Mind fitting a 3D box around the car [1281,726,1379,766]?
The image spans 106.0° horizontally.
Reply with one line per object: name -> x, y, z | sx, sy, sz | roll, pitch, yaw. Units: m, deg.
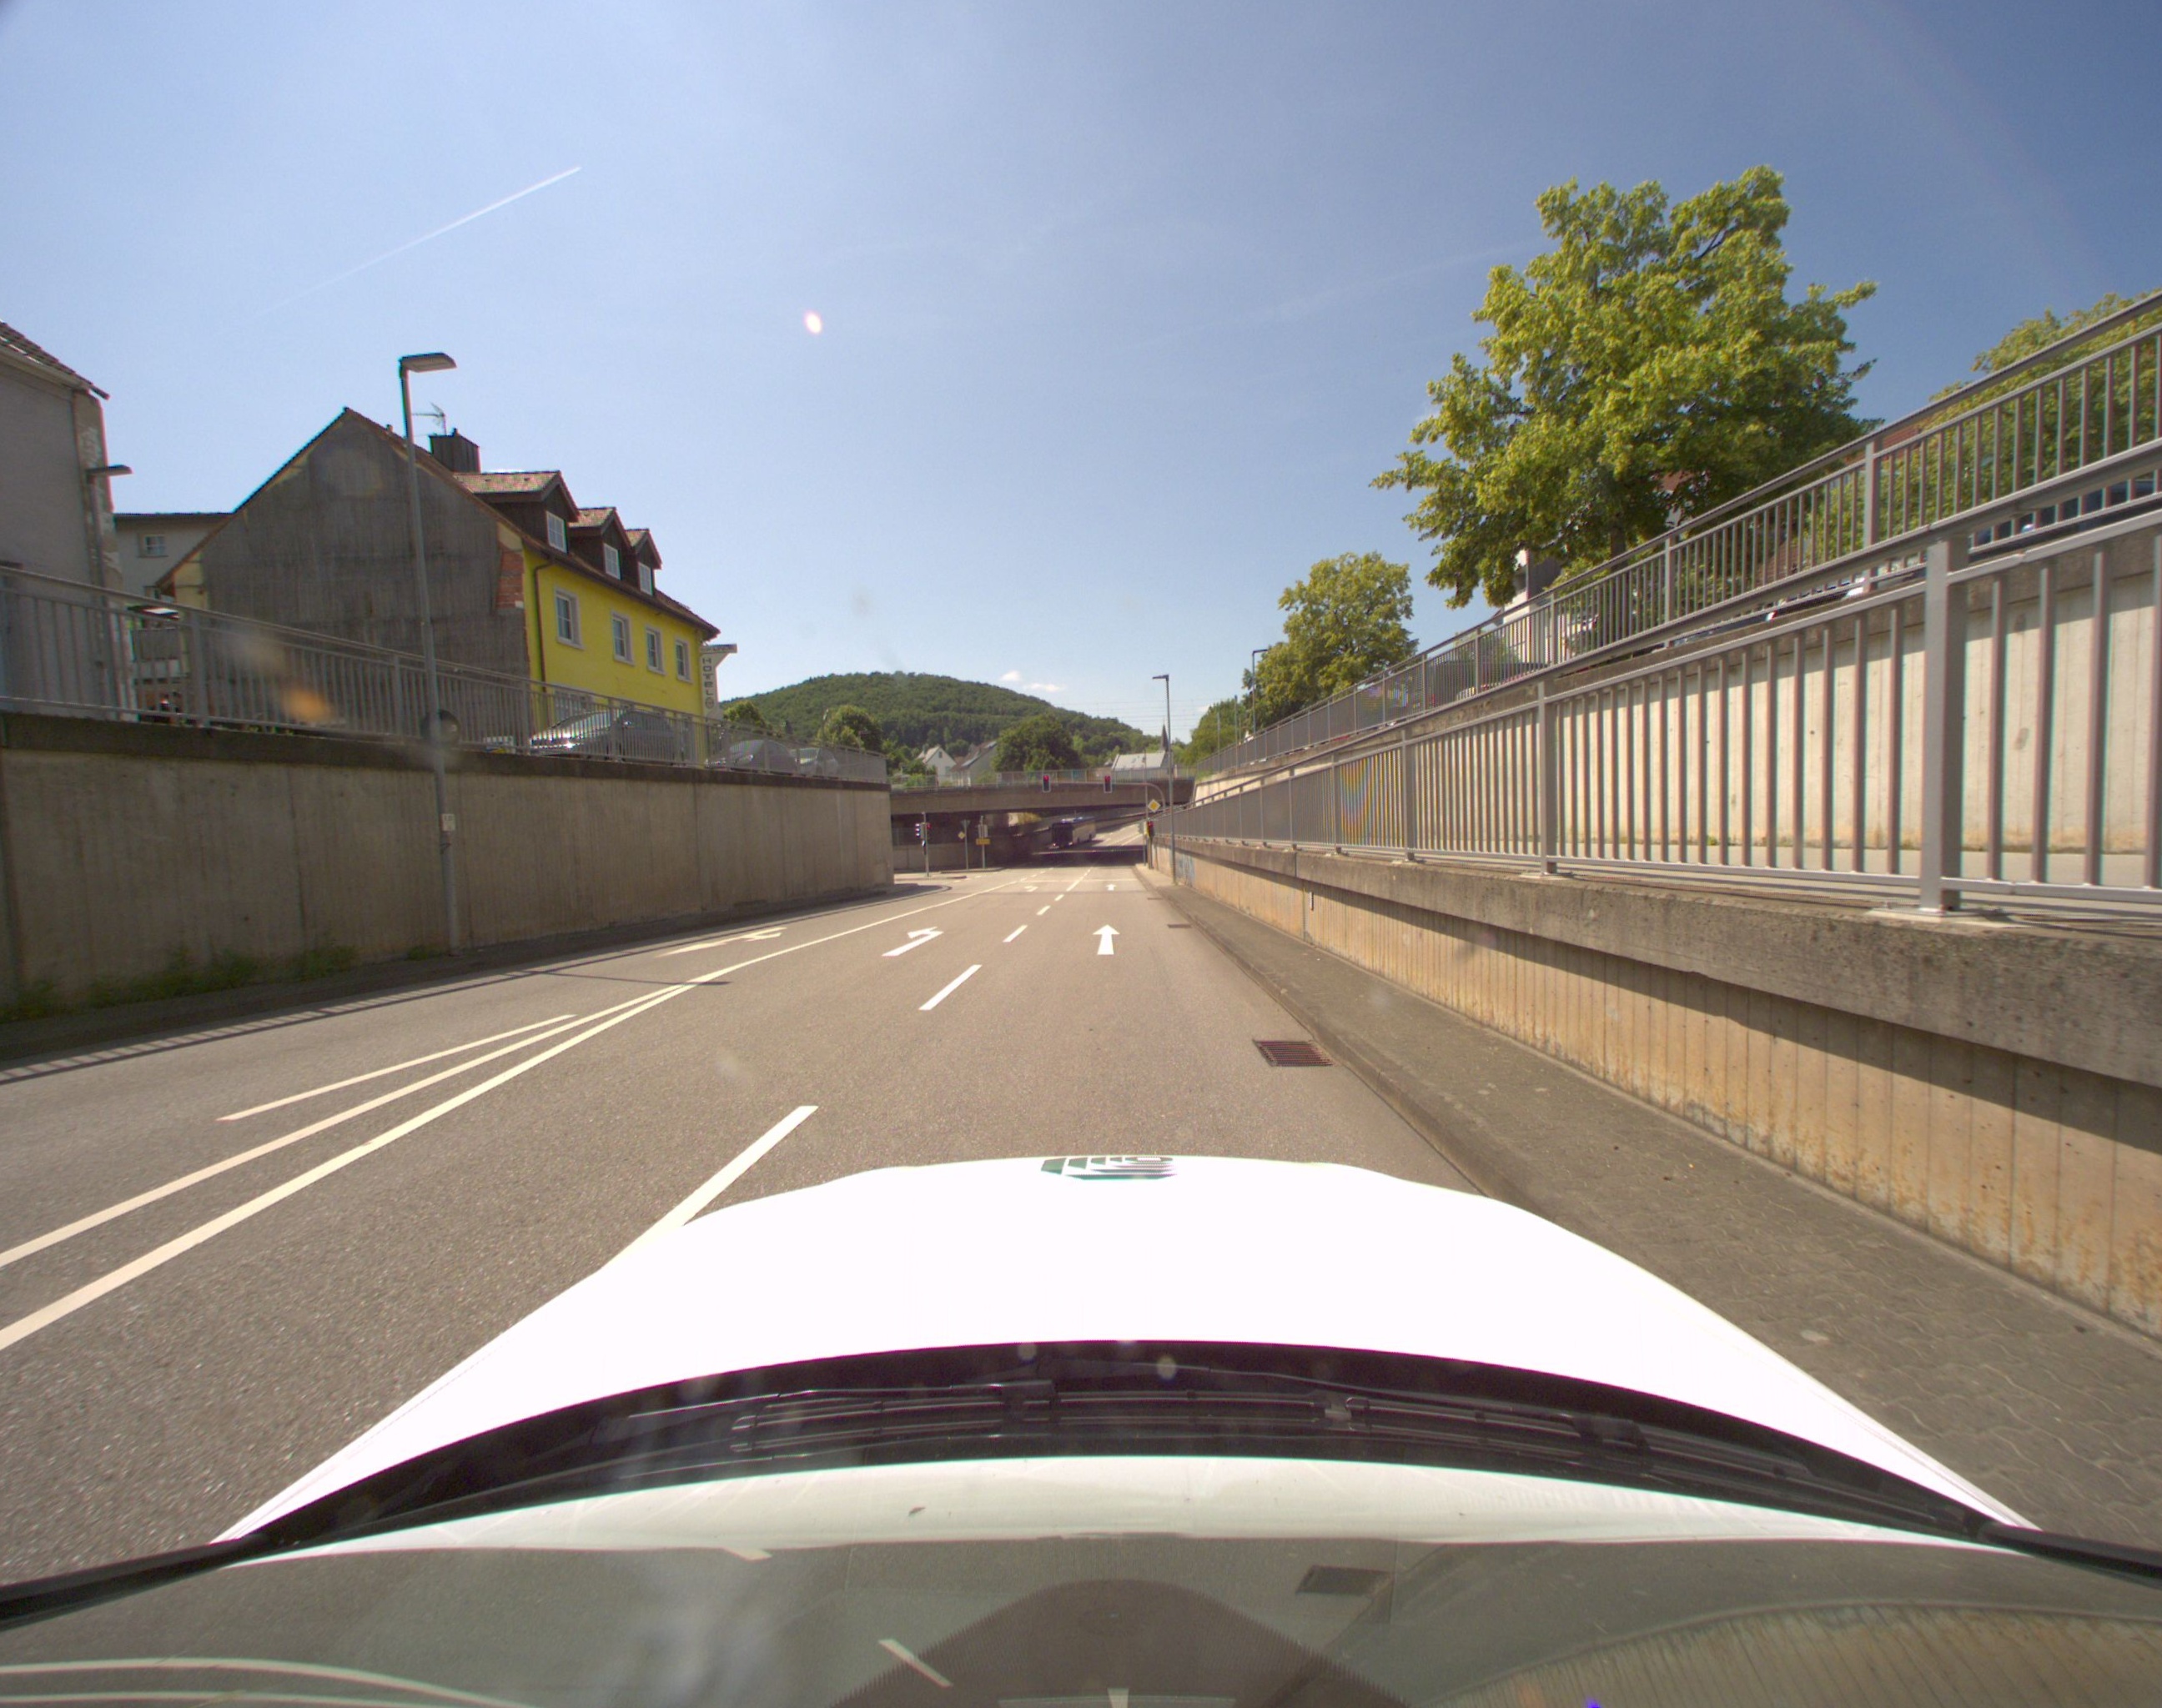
car -> 11.214, -4.860, 36.887 | 3.968, 1.486, 1.772 | -1, 0, 5

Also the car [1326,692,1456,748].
car -> 10.917, -4.727, 28.892 | 3.968, 1.567, 1.772 | -1, 0, 5

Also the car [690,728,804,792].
car -> -10.488, -2.908, 25.949 | 1.816, 1.705, 4.223 | -2, 2, 0

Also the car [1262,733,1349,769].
car -> 11.252, -5.179, 41.009 | 3.968, 1.486, 1.772 | -1, 0, 5

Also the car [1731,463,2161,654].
car -> 10.417, -3.392, 9.621 | 3.968, 1.486, 1.772 | -1, 0, 5

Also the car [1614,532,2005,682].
car -> 10.331, -3.486, 11.822 | 3.968, 1.486, 1.772 | -1, 0, 5

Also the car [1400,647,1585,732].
car -> 10.754, -4.288, 21.518 | 3.968, 1.770, 1.772 | -1, 0, 5

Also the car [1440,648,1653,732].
car -> 10.811, -3.806, 19.154 | 3.968, 1.486, 1.772 | -1, 0, 5

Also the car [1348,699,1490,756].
car -> 11.005, -4.131, 26.720 | 3.968, 1.486, 1.772 | -1, 0, 5

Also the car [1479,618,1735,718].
car -> 10.437, -3.680, 16.401 | 3.968, 1.486, 1.772 | -1, 0, 5

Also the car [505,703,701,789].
car -> -10.667, -2.357, 18.623 | 1.792, 1.524, 4.394 | -2, 2, 0

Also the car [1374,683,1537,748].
car -> 10.856, -4.012, 23.847 | 3.968, 1.486, 1.772 | -1, 0, 5

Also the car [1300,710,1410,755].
car -> 11.106, -4.928, 33.213 | 3.968, 1.486, 1.772 | -1, 0, 5

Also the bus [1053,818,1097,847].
bus -> -0.625, -2.767, 99.331 | 2.563, 3.172, 12.422 | -1, 3, 13

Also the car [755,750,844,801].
car -> -10.666, -2.937, 31.190 | 1.896, 1.667, 4.001 | -2, 2, 1
